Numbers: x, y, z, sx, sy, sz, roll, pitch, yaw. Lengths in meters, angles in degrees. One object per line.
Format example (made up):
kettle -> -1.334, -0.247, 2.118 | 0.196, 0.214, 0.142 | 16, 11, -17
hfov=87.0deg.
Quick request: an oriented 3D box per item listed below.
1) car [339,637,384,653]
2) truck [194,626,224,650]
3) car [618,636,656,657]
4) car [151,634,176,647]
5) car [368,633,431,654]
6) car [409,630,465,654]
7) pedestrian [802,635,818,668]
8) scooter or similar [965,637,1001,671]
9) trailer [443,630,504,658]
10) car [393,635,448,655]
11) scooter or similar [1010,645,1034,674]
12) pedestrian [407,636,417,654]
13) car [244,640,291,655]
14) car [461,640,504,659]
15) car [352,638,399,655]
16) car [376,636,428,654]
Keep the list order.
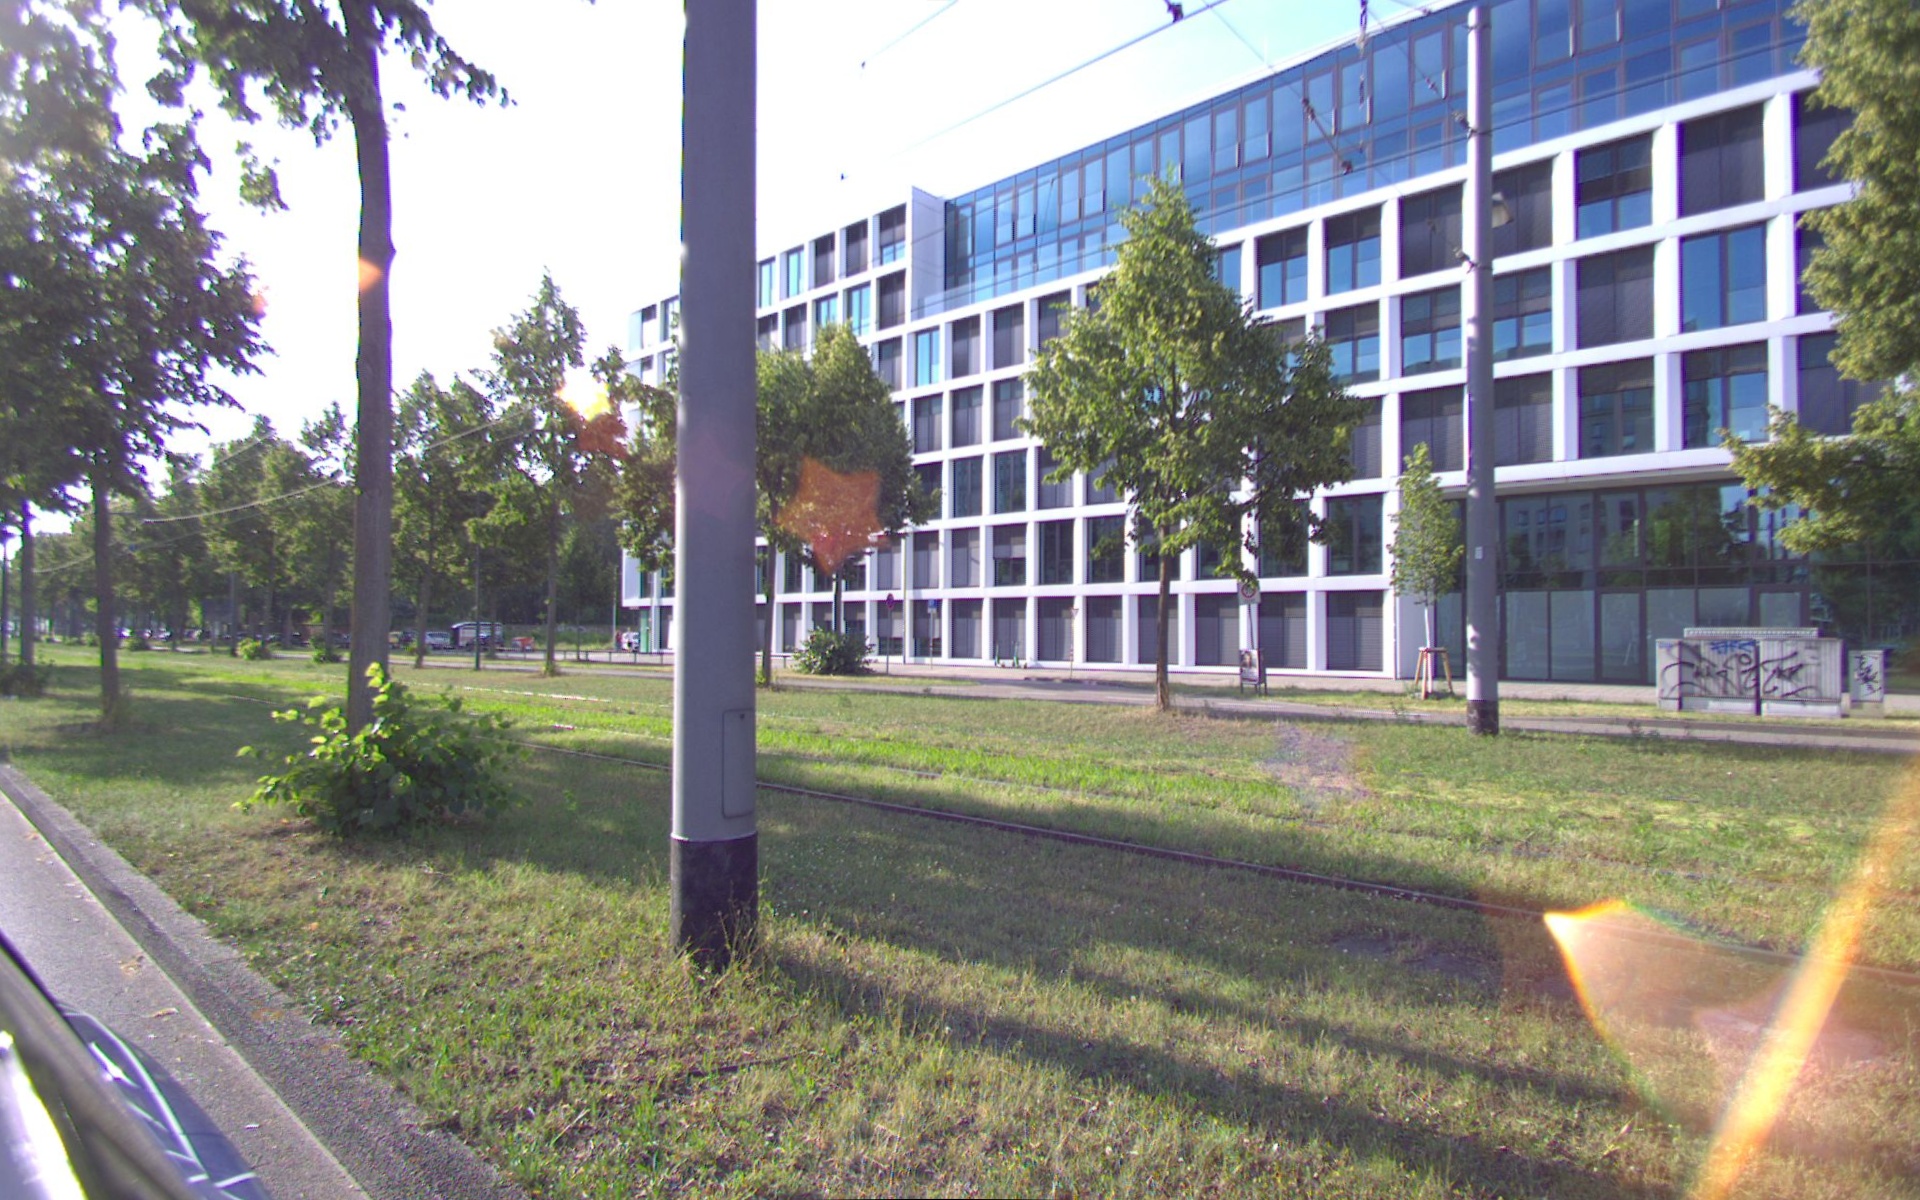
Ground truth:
car -> -61.803, 4.615, 104.559 | 3.810, 1.497, 1.746 | -1, 0, -40
truck -> -113.824, 5.716, 153.345 | 2.854, 3.542, 7.952 | -1, 0, -43
car -> -27.636, 3.971, 86.527 | 1.824, 1.608, 4.009 | -1, 0, -37
car -> -97.200, 4.904, 123.494 | 4.475, 1.442, 1.810 | -1, 0, 43
car -> -54.284, 4.170, 98.060 | 1.886, 1.748, 5.003 | -1, 0, 44
car -> -45.689, 3.656, 88.434 | 1.757, 1.962, 3.949 | -1, 0, 42
pedestrian -> -8.149, 2.767, 54.946 | 0.691, 1.741, 0.561 | -1, 0, 42
scooter or similar -> 1.066, 2.452, 46.292 | 1.906, 1.488, 0.415 | -1, 0, -44
trailer -> -40.853, 3.668, 85.003 | 4.314, 2.069, 1.759 | -1, 0, -45
car -> -48.166, 4.002, 90.384 | 1.757, 1.655, 3.949 | -1, 0, 42
scooter or similar -> 2.758, 2.645, 45.352 | 0.331, 1.235, 1.302 | -1, 0, -34
pedestrian -> -47.137, 3.863, 87.057 | 0.568, 1.491, 0.516 | -1, 0, 41
car -> -69.919, 4.823, 102.245 | 3.995, 1.446, 1.680 | -1, 0, 13
car -> -38.610, 3.996, 81.747 | 3.758, 1.404, 1.663 | -1, 0, 39
car -> -57.099, 4.500, 98.945 | 1.810, 1.439, 3.606 | -1, 0, 44
car -> -52.851, 4.256, 95.932 | 1.857, 1.572, 3.942 | -1, 0, 44
